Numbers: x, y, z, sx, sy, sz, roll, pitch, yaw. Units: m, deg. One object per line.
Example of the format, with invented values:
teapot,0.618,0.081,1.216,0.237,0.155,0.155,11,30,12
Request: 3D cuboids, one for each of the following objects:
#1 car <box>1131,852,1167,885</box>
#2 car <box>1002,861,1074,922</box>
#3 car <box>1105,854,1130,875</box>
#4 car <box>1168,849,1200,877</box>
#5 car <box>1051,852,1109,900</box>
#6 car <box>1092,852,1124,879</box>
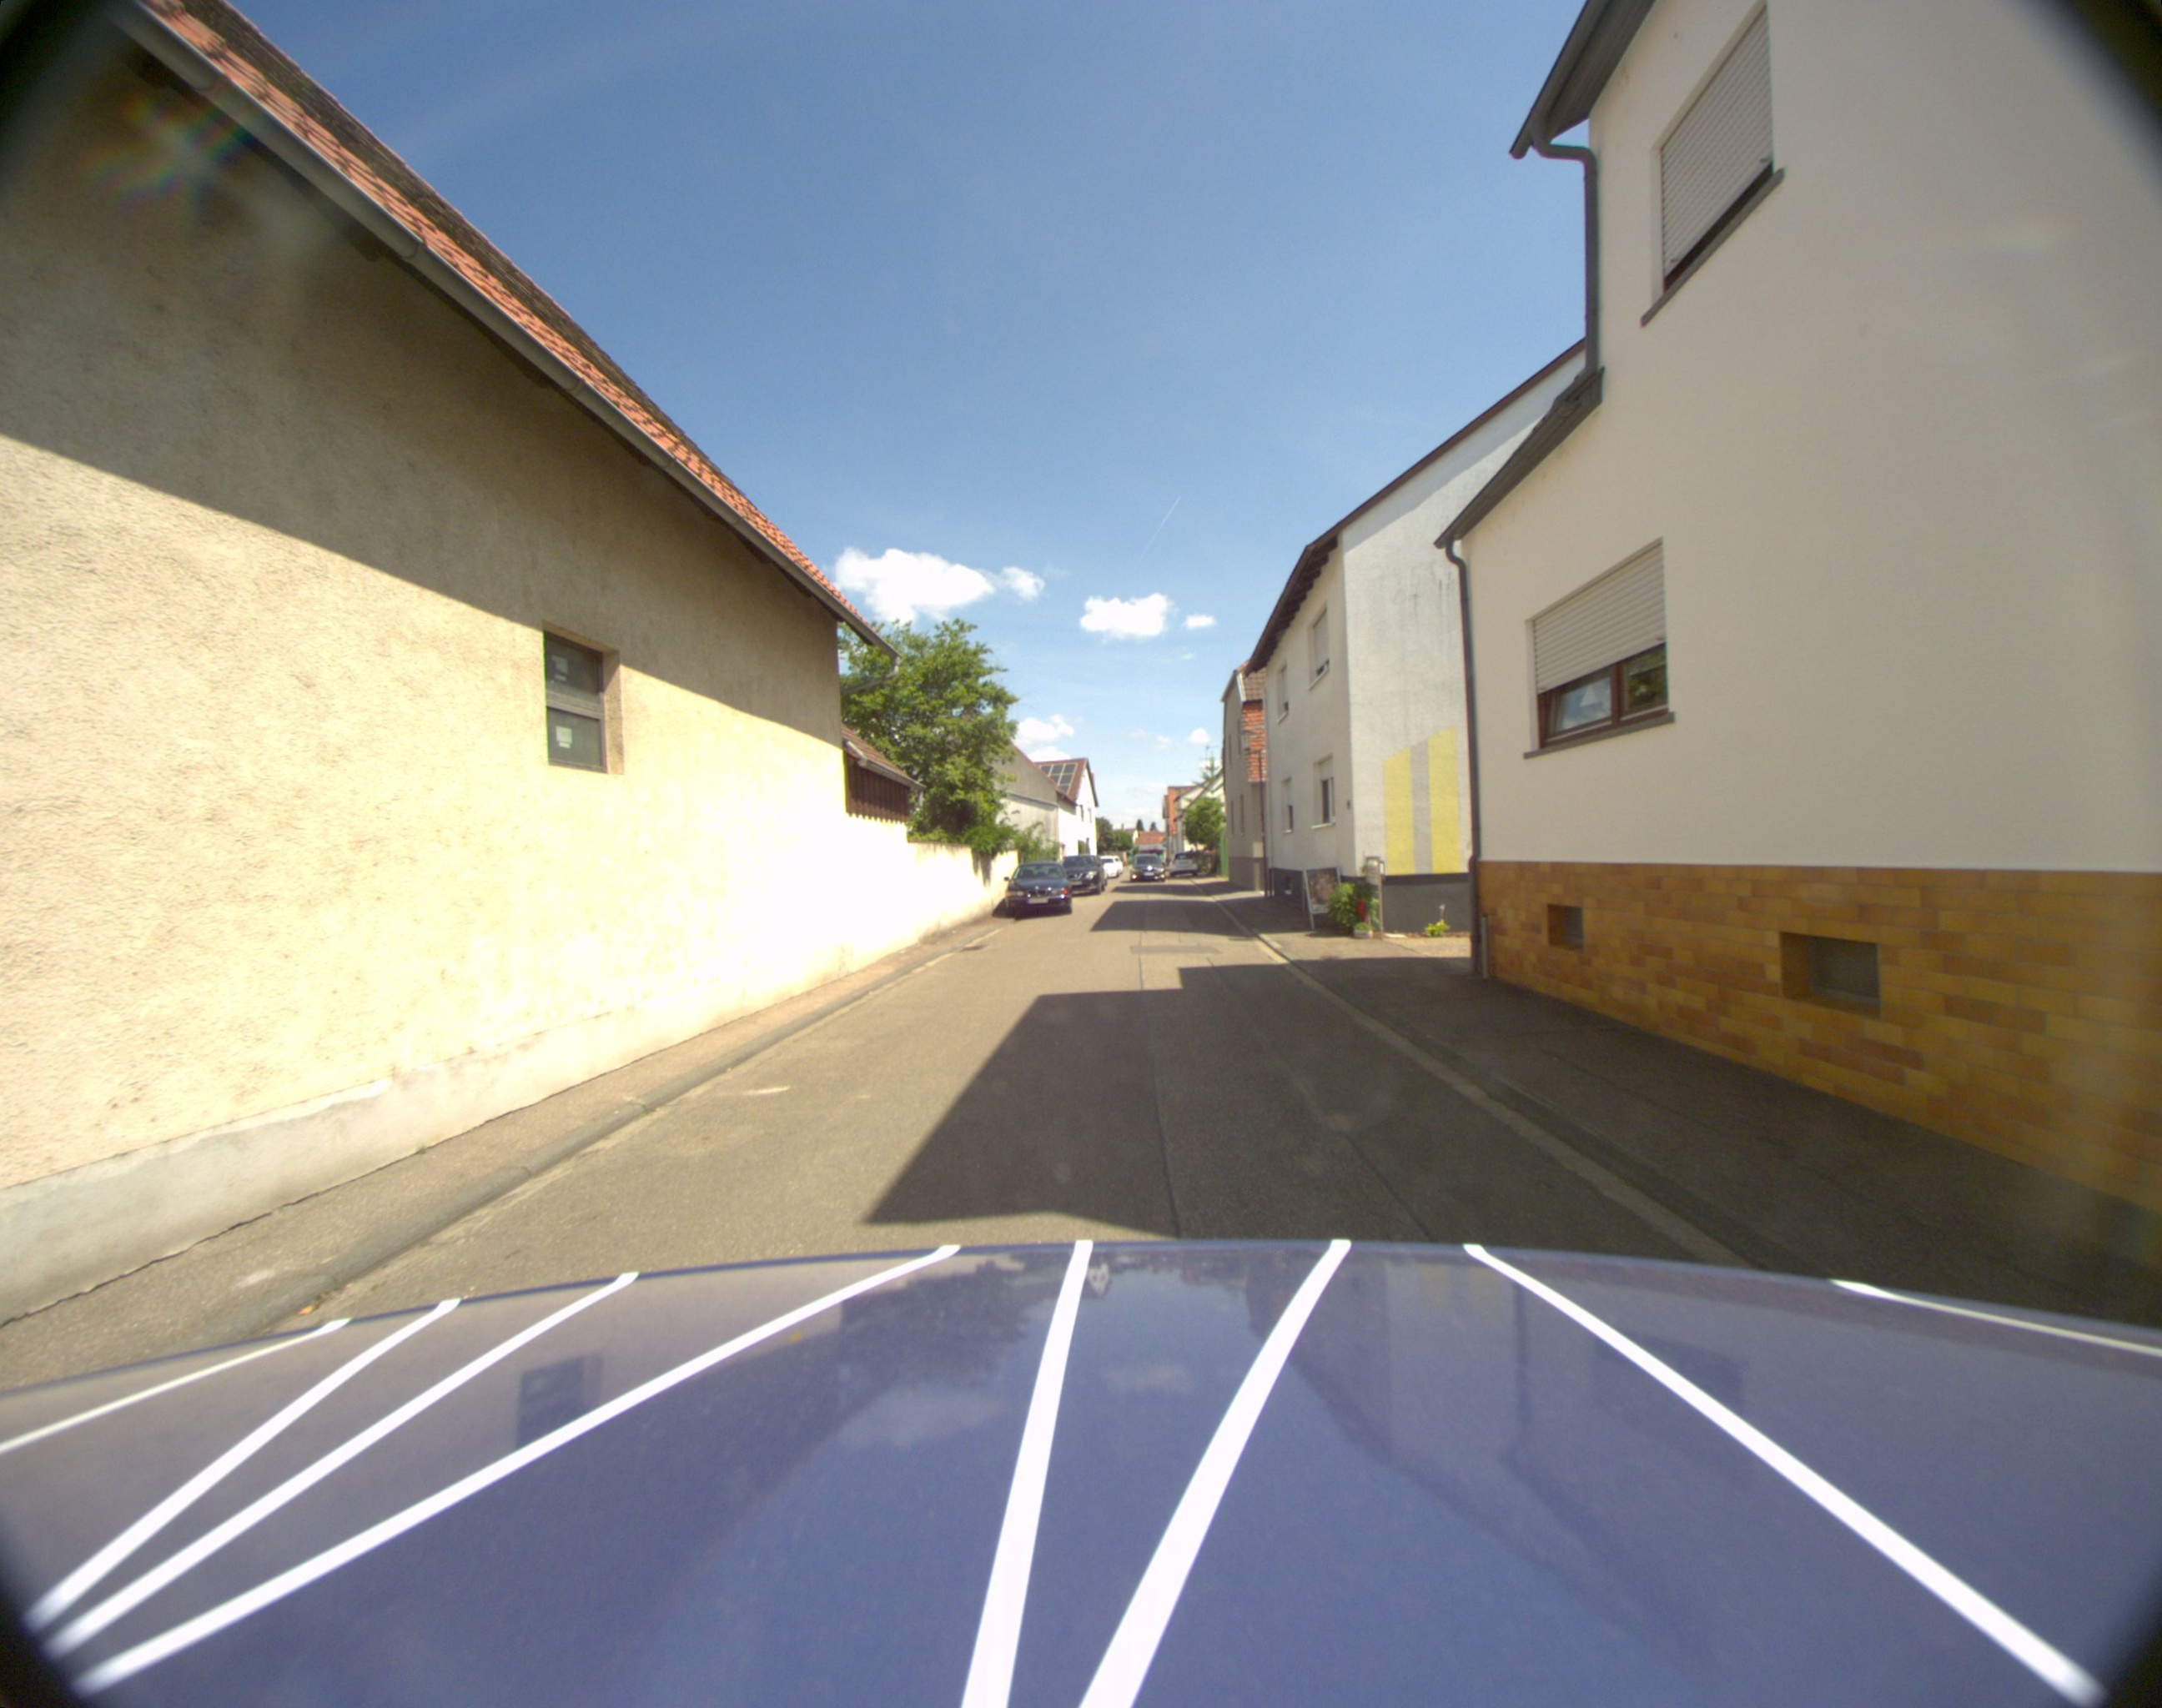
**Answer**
car,3.655,0.730,40.869,1.784,1.527,4.711,-2,1,5
car,-1.146,0.977,21.430,1.785,1.471,3.999,-2,0,-1
car,3.044,0.809,63.335,1.784,1.492,4.040,-5,0,5
car,6.666,0.557,49.605,1.784,1.600,4.001,-5,0,5
car,0.034,0.828,30.260,1.784,1.600,4.001,-5,0,5
car,1.835,0.745,50.837,1.784,1.492,4.040,-5,0,5
